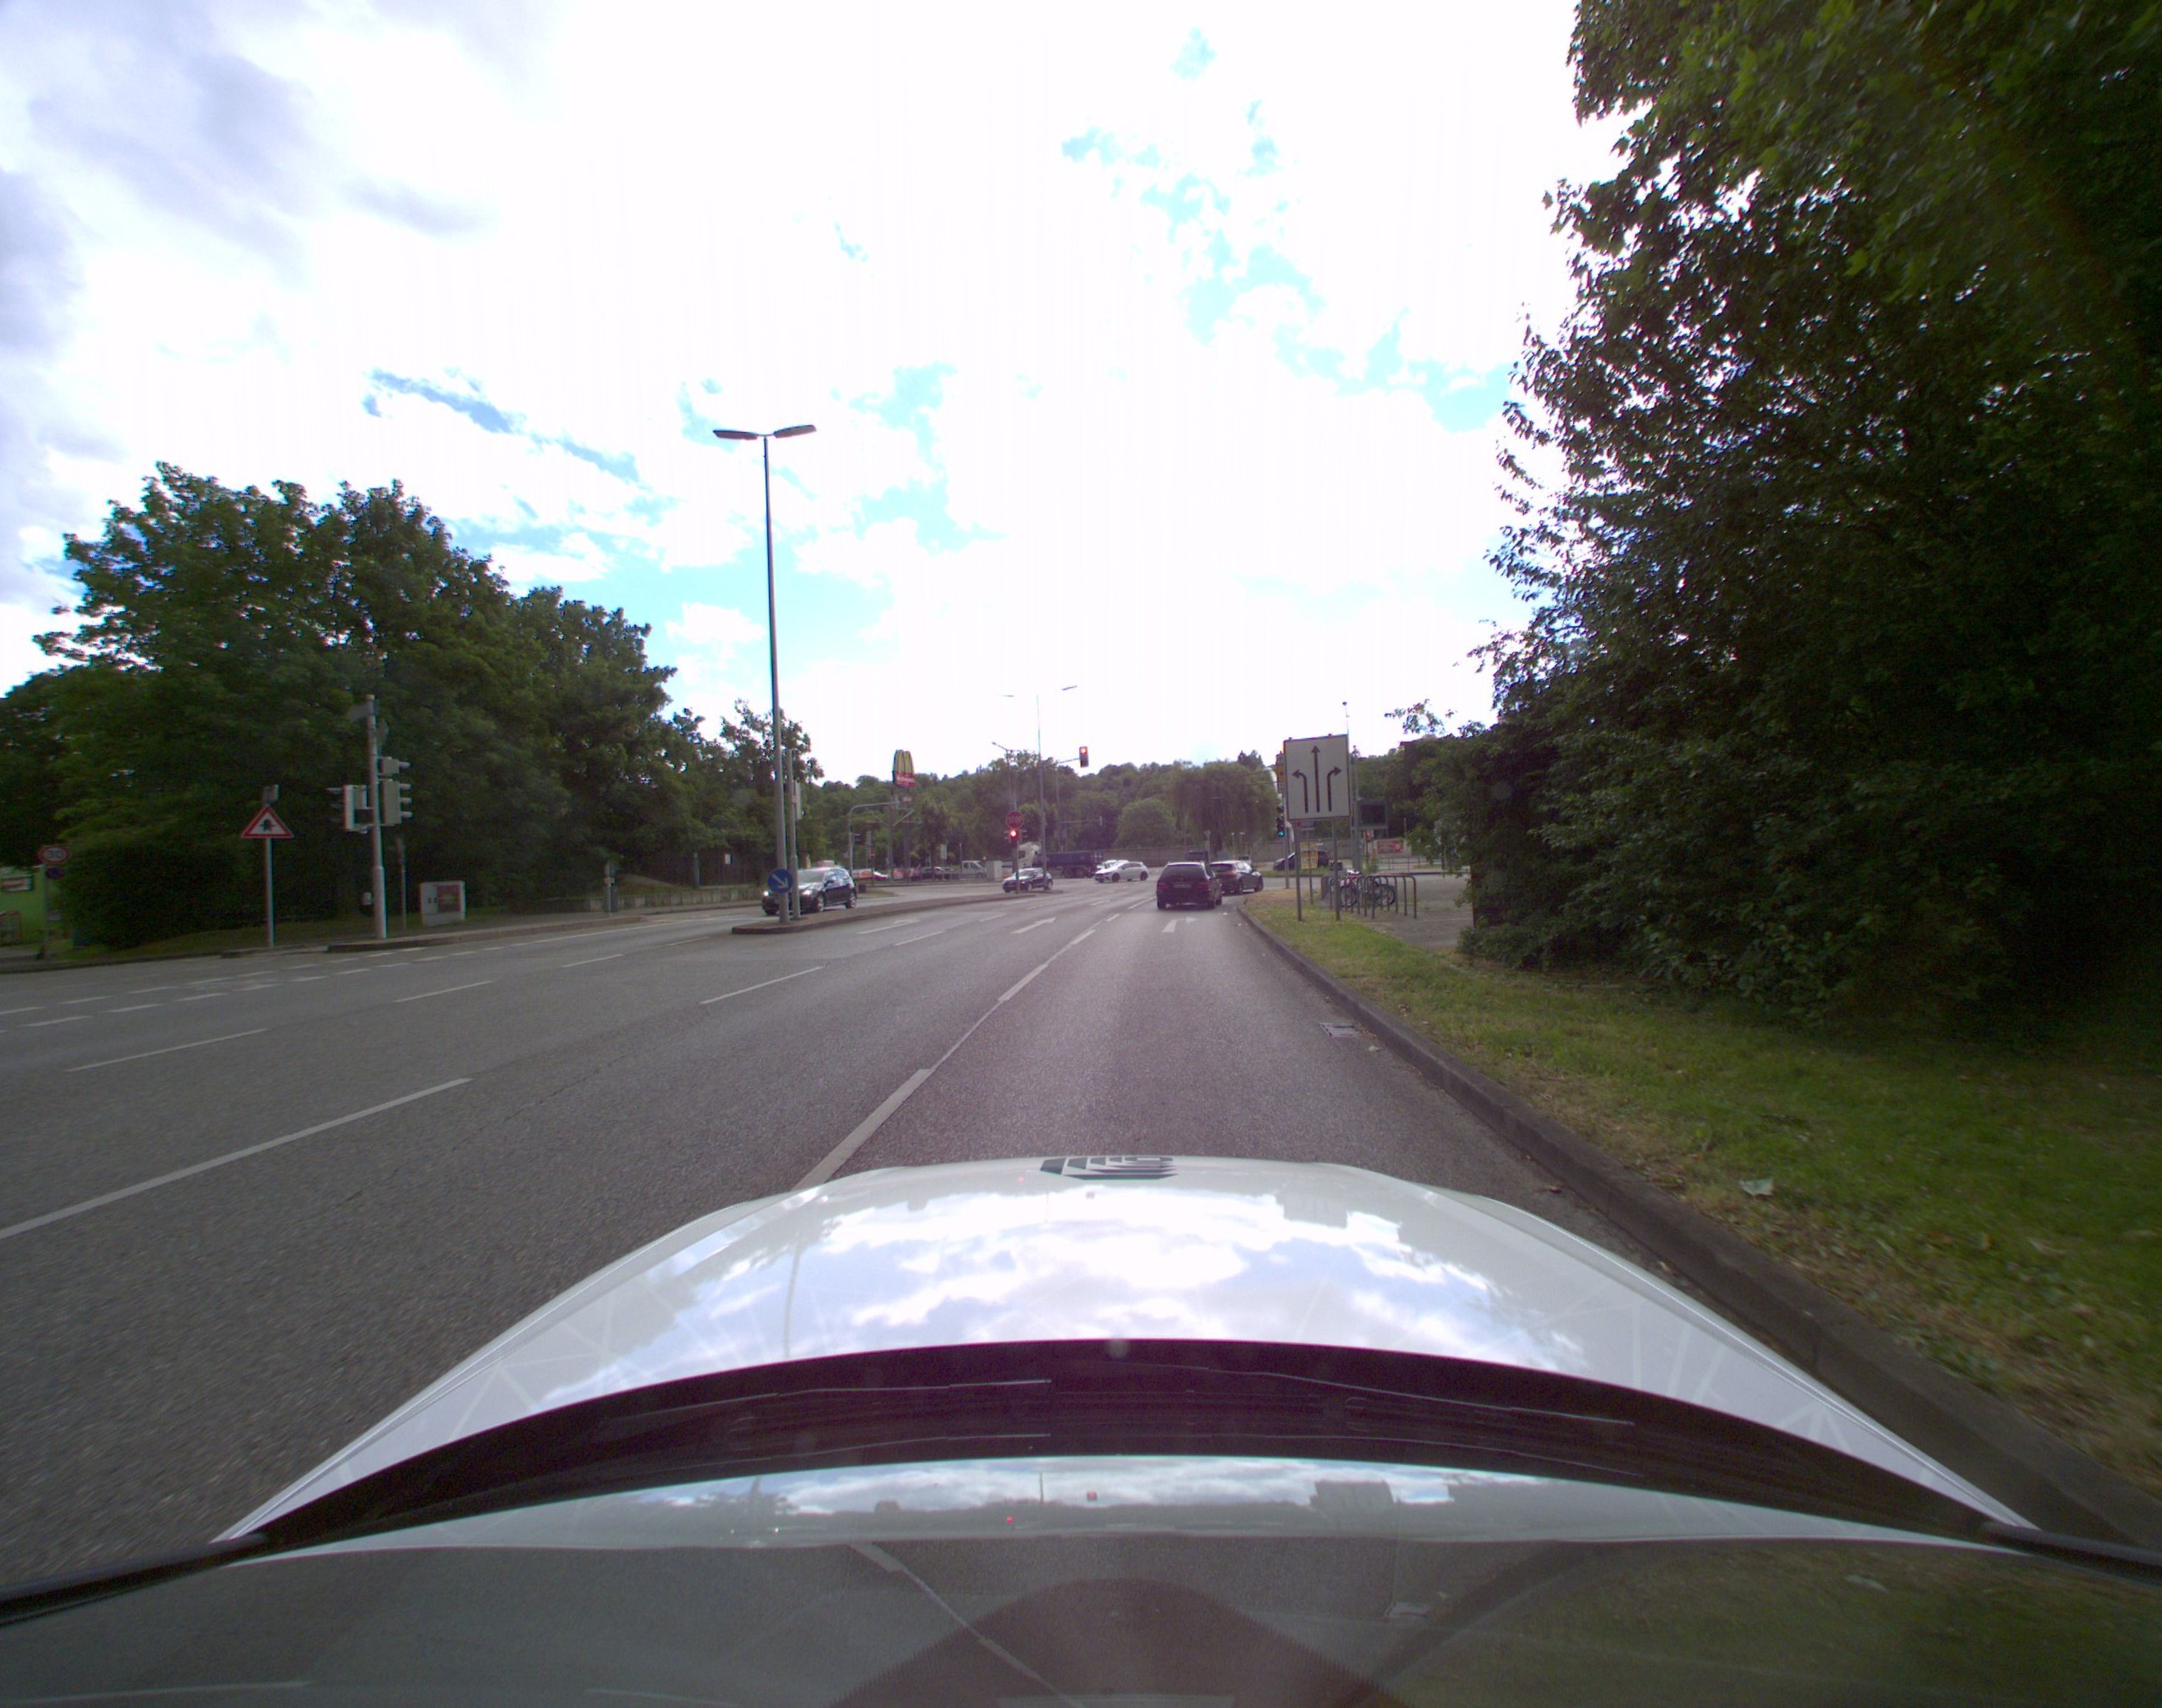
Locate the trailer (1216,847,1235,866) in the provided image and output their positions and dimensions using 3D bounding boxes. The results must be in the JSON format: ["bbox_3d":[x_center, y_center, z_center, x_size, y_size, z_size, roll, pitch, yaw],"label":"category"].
[{"bbox_3d":[18.052,0.305,101.515,1.979,2.184,4.015,-4,-2,14],"label":"trailer"}]

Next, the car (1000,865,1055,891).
[{"bbox_3d":[-3.207,1.439,49.580,1.601,1.416,3.917,-3,0,25],"label":"car"}]

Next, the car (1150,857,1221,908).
[{"bbox_3d":[3.513,0.879,26.625,1.810,1.509,4.590,-1,-1,13],"label":"car"}]

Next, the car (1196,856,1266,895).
[{"bbox_3d":[6.852,0.938,36.832,1.710,1.530,4.175,-3,0,30],"label":"car"}]

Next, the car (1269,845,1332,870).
[{"bbox_3d":[17.468,0.272,65.009,4.529,1.774,1.607,-3,-1,-1],"label":"car"}]

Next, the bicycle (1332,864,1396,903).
[{"bbox_3d":[8.498,0.903,24.530,1.765,1.111,0.457,-2,-2,15],"label":"bicycle"}]

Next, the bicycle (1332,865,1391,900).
[{"bbox_3d":[9.300,0.932,27.069,1.767,1.111,0.555,-2,-1,10],"label":"bicycle"}]

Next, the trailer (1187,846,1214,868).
[{"bbox_3d":[14.672,0.401,100.146,2.333,2.582,4.942,-4,-2,18],"label":"trailer"}]

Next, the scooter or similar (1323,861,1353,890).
[{"bbox_3d":[10.966,0.928,34.719,1.172,1.169,0.295,-3,-1,18],"label":"scooter or similar"}]

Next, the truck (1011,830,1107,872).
[{"bbox_3d":[-2.226,-0.219,82.015,9.017,3.588,3.237,-4,-2,24],"label":"truck"}]

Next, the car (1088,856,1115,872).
[{"bbox_3d":[2.357,1.105,93.621,1.977,1.640,4.019,-3,0,18],"label":"car"}]

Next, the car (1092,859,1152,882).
[{"bbox_3d":[3.037,1.202,59.625,4.313,1.405,1.587,-3,-1,-38],"label":"car"}]

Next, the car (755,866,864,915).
[{"bbox_3d":[-8.663,1.116,26.395,1.669,1.366,4.318,-2,0,6],"label":"car"}]

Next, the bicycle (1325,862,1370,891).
[{"bbox_3d":[10.835,0.921,33.145,1.678,1.111,0.481,-2,1,10],"label":"bicycle"}]

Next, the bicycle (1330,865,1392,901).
[{"bbox_3d":[8.894,0.926,25.926,1.767,1.111,0.542,-2,-3,10],"label":"bicycle"}]

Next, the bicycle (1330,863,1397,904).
[{"bbox_3d":[8.249,0.864,23.813,1.761,1.111,0.428,-3,-2,29],"label":"bicycle"}]

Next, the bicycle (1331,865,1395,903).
[{"bbox_3d":[8.705,0.920,25.224,1.767,1.111,0.581,-2,-1,10],"label":"bicycle"}]
